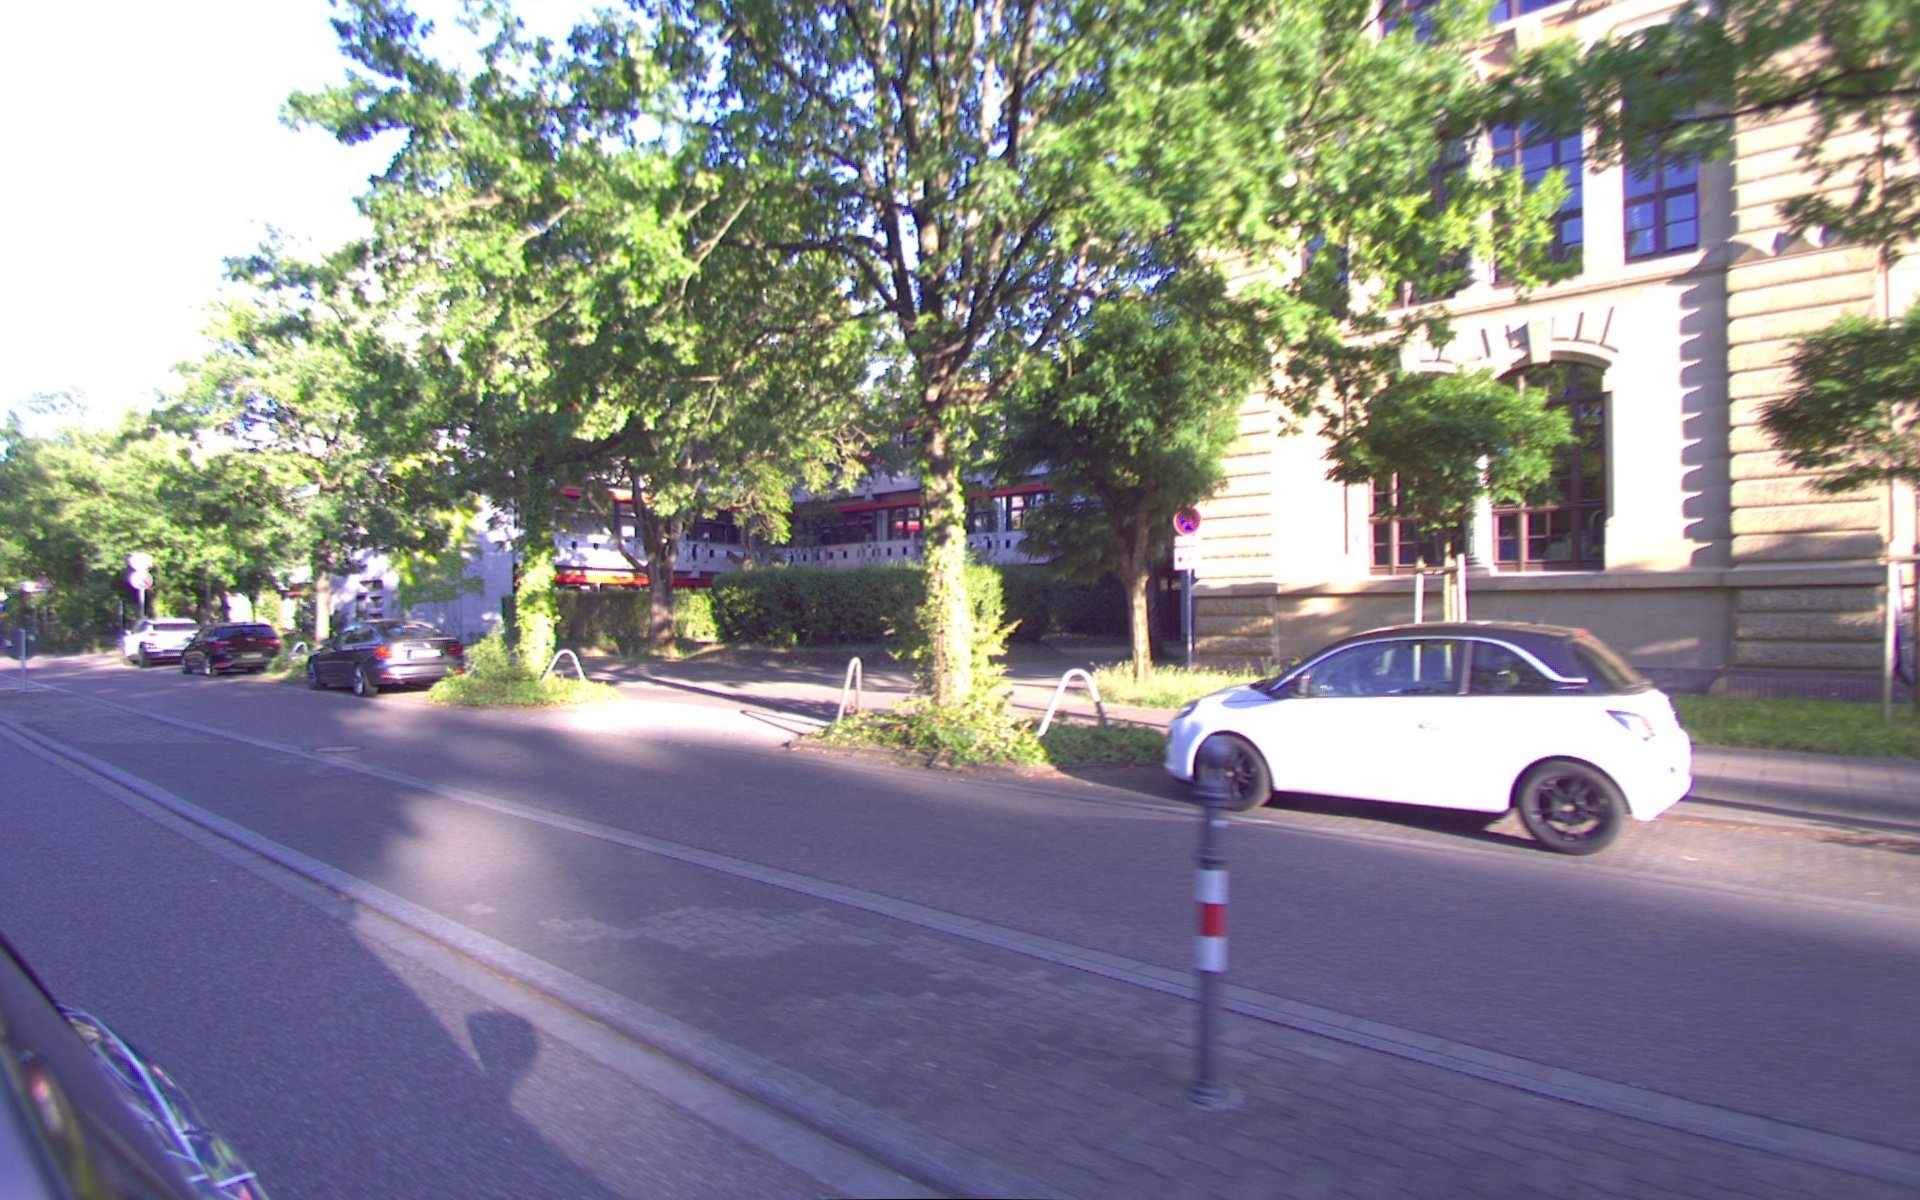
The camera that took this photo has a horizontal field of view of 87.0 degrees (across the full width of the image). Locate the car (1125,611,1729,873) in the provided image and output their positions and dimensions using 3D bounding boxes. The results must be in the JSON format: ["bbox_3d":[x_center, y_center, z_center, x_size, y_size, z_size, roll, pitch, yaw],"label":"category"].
[{"bbox_3d":[3.380,0.865,7.761,3.922,1.507,1.601,-1,-1,40],"label":"car"}]

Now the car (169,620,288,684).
[{"bbox_3d":[-20.353,1.379,28.100,4.144,1.628,1.762,-1,-1,40],"label":"car"}]

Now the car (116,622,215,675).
[{"bbox_3d":[-26.327,1.550,33.479,4.144,1.628,1.785,-1,-2,40],"label":"car"}]

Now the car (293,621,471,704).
[{"bbox_3d":[-12.141,1.212,21.106,4.861,1.522,1.783,-1,-1,42],"label":"car"}]
